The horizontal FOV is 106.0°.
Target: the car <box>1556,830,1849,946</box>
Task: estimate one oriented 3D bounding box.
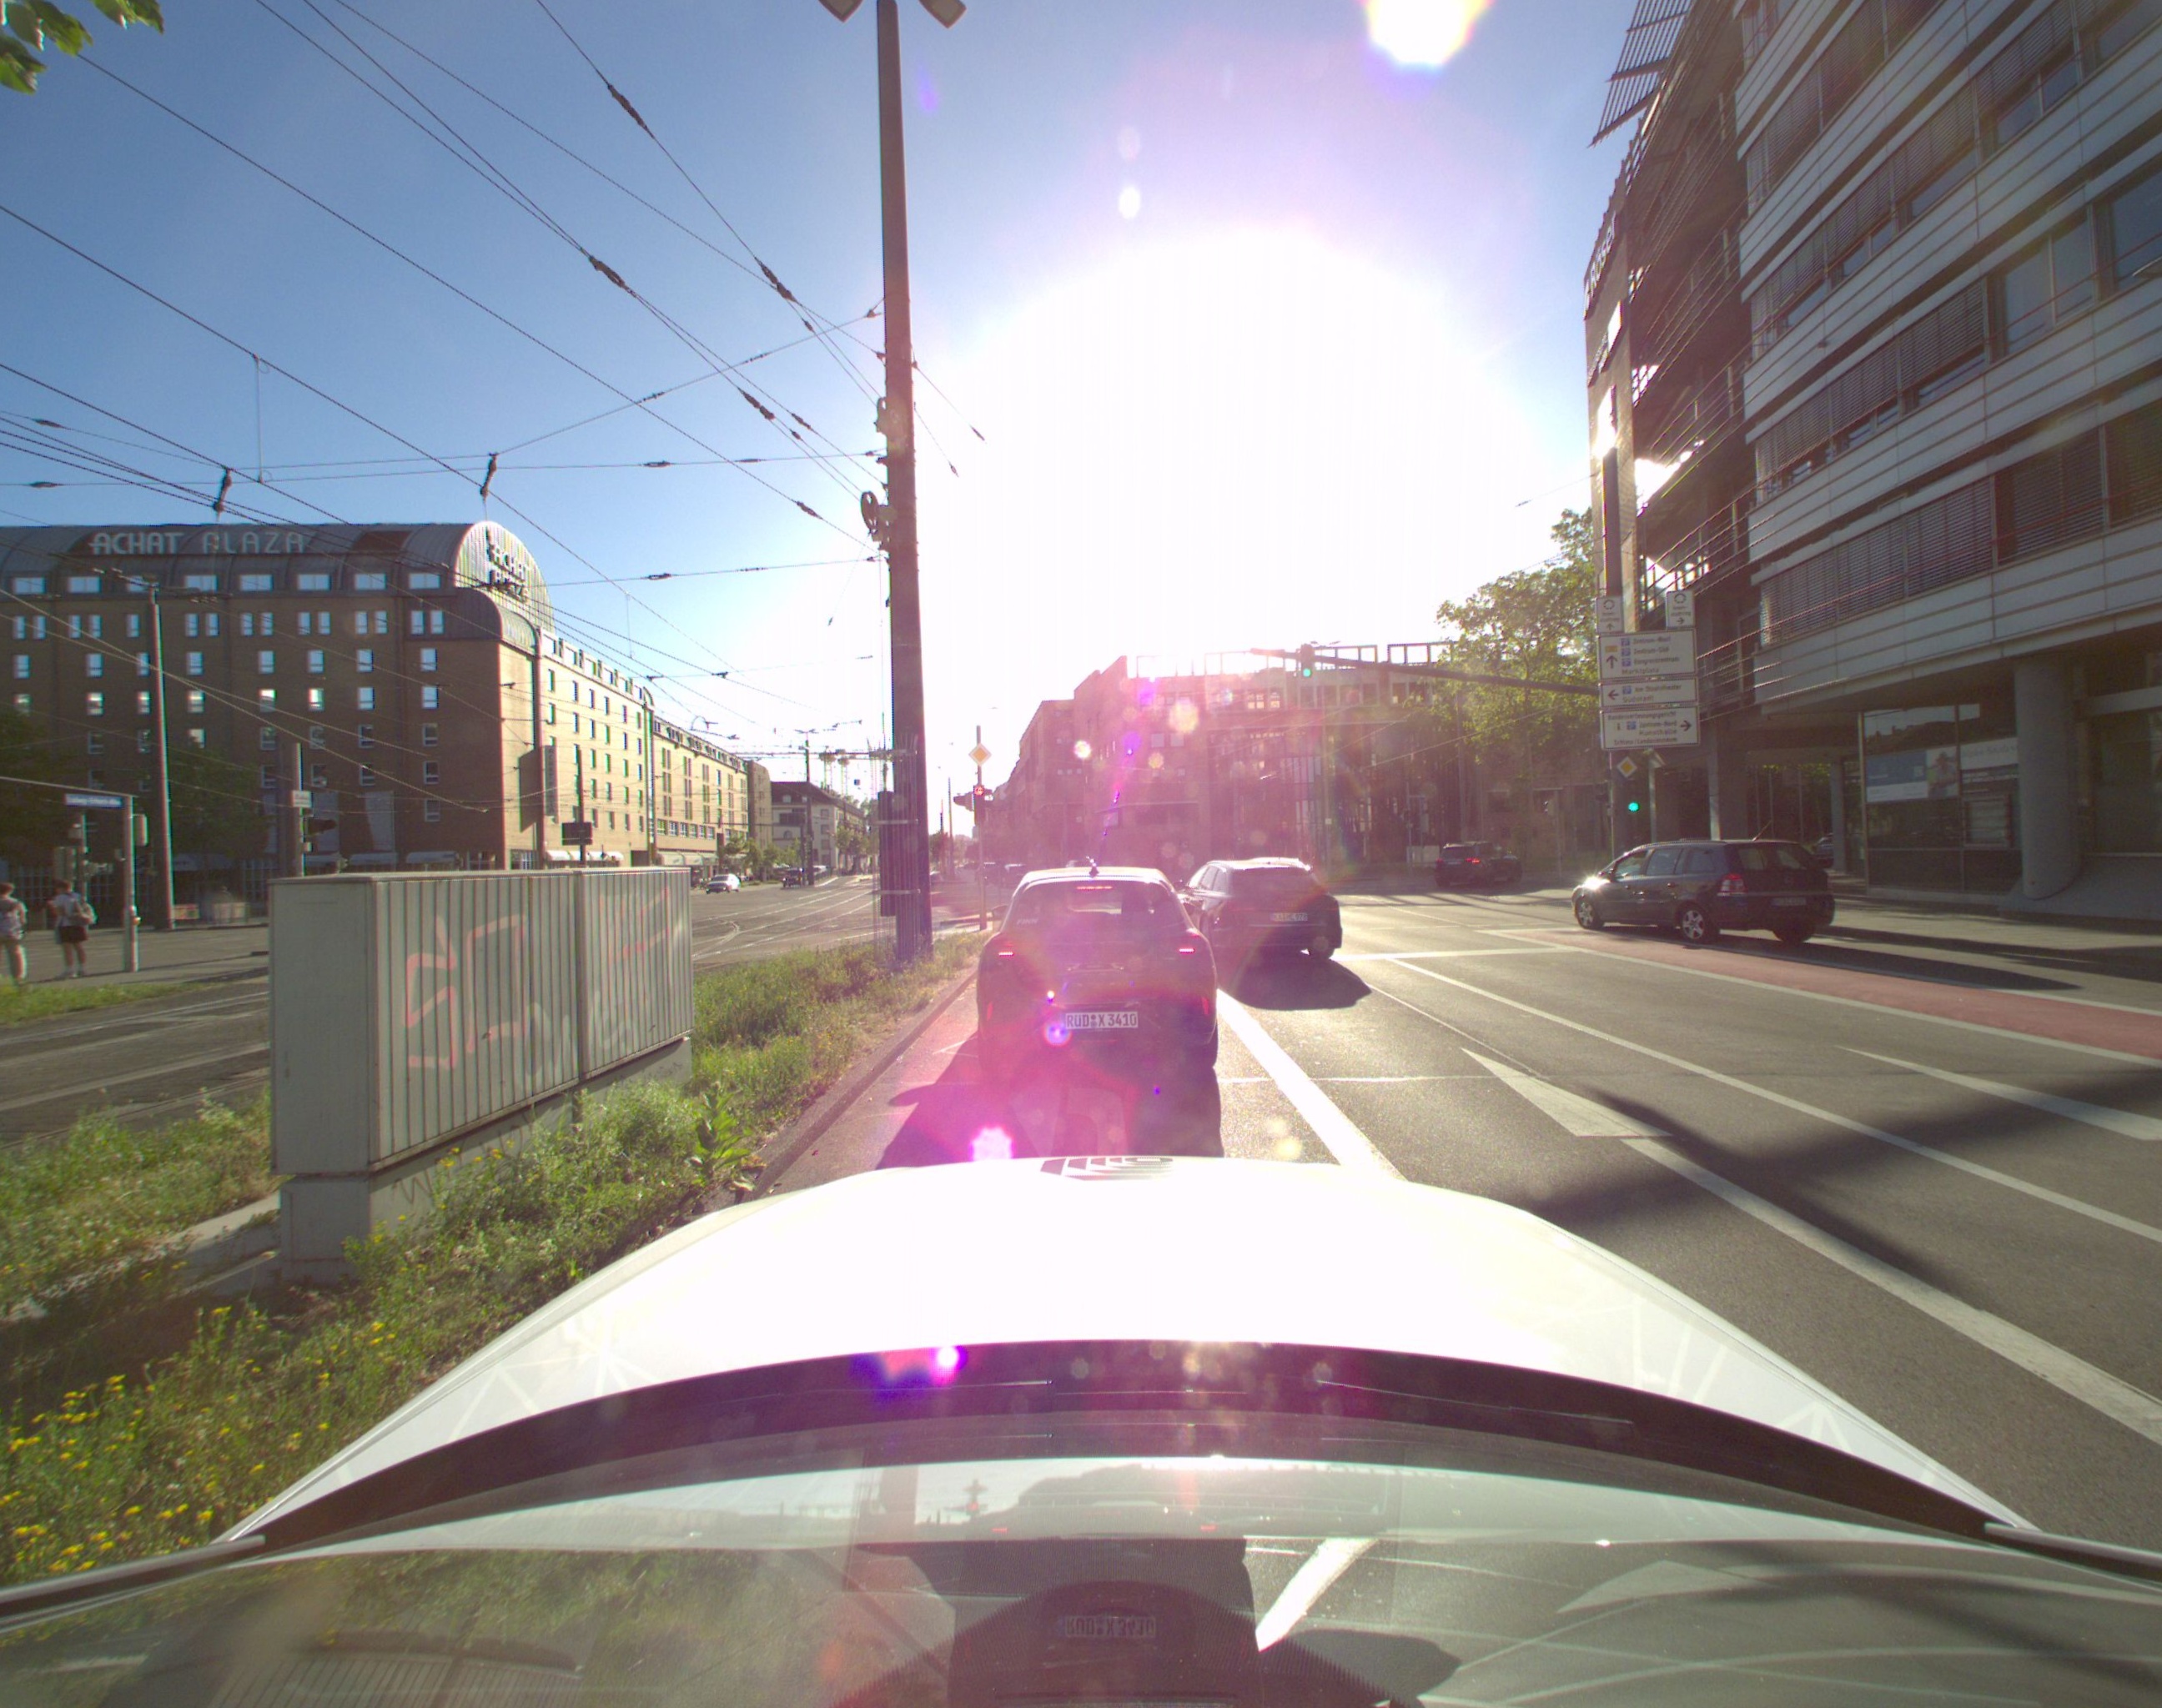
[{"bbox_3d":[10.342,0.506,14.075,1.682,1.629,4.463,-2,0,1],"label":"car"}]

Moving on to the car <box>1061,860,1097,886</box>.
[{"bbox_3d":[-0.176,1.142,50.330,1.805,1.457,3.991,-1,0,-6],"label":"car"}]

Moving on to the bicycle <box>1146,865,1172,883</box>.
[{"bbox_3d":[4.475,1.159,46.882,0.493,0.997,2.311,-2,0,-21],"label":"bicycle"}]

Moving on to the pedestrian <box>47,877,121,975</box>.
[{"bbox_3d":[-19.238,1.367,15.721,0.562,1.817,0.662,-2,0,-5],"label":"pedestrian"}]

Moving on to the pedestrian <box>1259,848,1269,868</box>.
[{"bbox_3d":[15.454,0.319,68.774,0.733,1.617,0.562,-2,0,10],"label":"pedestrian"}]

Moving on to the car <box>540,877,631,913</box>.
[{"bbox_3d":[-25.423,2.064,42.016,1.990,1.596,4.731,-2,0,-4],"label":"car"}]

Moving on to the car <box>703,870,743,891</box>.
[{"bbox_3d":[-28.578,2.085,65.102,1.569,1.449,3.996,-2,0,-3],"label":"car"}]

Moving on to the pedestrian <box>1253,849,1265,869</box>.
[{"bbox_3d":[14.749,0.406,67.402,0.894,1.617,0.562,-2,0,10],"label":"pedestrian"}]

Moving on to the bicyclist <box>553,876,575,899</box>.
[{"bbox_3d":[-32.528,2.102,51.242,0.756,1.375,0.949,-2,0,-6],"label":"bicyclist"}]

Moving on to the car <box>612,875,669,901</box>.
[{"bbox_3d":[-29.440,2.258,54.578,1.719,1.422,4.139,-4,0,-4],"label":"car"}]

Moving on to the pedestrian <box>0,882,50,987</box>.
[{"bbox_3d":[-19.263,1.433,14.610,0.630,1.830,0.662,-2,0,-5],"label":"pedestrian"}]

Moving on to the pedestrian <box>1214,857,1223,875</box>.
[{"bbox_3d":[10.799,0.954,63.980,0.527,1.430,0.598,-2,0,1],"label":"pedestrian"}]

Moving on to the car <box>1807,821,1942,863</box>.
[{"bbox_3d":[32.670,-0.485,33.588,3.981,1.651,1.861,-1,0,-6],"label":"car"}]

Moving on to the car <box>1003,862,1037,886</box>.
[{"bbox_3d":[-3.866,1.215,51.001,1.737,1.349,3.986,-2,0,-10],"label":"car"}]

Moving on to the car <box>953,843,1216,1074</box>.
[{"bbox_3d":[0.127,0.679,7.200,1.642,1.433,4.003,-2,0,3],"label":"car"}]

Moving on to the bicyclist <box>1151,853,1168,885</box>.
[{"bbox_3d":[4.492,0.859,46.751,0.579,1.791,0.858,-2,0,-20],"label":"bicyclist"}]

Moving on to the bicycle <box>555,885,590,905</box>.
[{"bbox_3d":[-32.352,2.592,51.897,0.649,1.085,2.920,-2,0,-6],"label":"bicycle"}]

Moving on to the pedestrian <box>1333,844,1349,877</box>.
[{"bbox_3d":[14.196,0.333,44.479,0.700,1.759,0.564,-2,-1,27],"label":"pedestrian"}]

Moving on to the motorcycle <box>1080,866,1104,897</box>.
[{"bbox_3d":[0.437,1.080,32.258,0.771,1.115,1.972,-2,0,5],"label":"motorcycle"}]

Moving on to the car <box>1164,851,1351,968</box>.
[{"bbox_3d":[2.574,0.751,13.030,1.807,1.492,4.491,-2,0,-3],"label":"car"}]

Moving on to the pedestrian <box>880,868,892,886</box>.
[{"bbox_3d":[-18.157,2.109,75.717,0.735,1.640,0.772,-2,-1,42],"label":"pedestrian"}]

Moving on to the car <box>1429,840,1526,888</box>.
[{"bbox_3d":[16.028,0.372,32.825,4.352,1.750,1.976,-2,0,-42],"label":"car"}]

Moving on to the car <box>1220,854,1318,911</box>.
[{"bbox_3d":[5.270,0.753,23.309,1.802,1.457,3.998,-1,0,-1],"label":"car"}]

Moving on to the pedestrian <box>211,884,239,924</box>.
[{"bbox_3d":[-44.117,2.587,41.975,0.663,2.013,0.678,-2,0,3],"label":"pedestrian"}]

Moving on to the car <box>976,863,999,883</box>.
[{"bbox_3d":[-8.110,1.618,70.677,1.737,1.651,3.987,-2,0,-9],"label":"car"}]

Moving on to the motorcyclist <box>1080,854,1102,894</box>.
[{"bbox_3d":[0.398,0.767,32.142,0.741,1.530,1.022,-2,0,4],"label":"motorcyclist"}]

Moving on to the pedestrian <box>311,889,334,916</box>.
[{"bbox_3d":[-44.197,2.811,47.480,0.674,1.503,0.659,-2,0,-1],"label":"pedestrian"}]

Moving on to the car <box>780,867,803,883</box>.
[{"bbox_3d":[-28.183,2.039,79.345,1.748,1.505,3.860,-2,0,-15],"label":"car"}]

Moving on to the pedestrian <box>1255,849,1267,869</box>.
[{"bbox_3d":[15.046,0.404,68.130,0.894,1.617,0.562,-2,0,10],"label":"pedestrian"}]
